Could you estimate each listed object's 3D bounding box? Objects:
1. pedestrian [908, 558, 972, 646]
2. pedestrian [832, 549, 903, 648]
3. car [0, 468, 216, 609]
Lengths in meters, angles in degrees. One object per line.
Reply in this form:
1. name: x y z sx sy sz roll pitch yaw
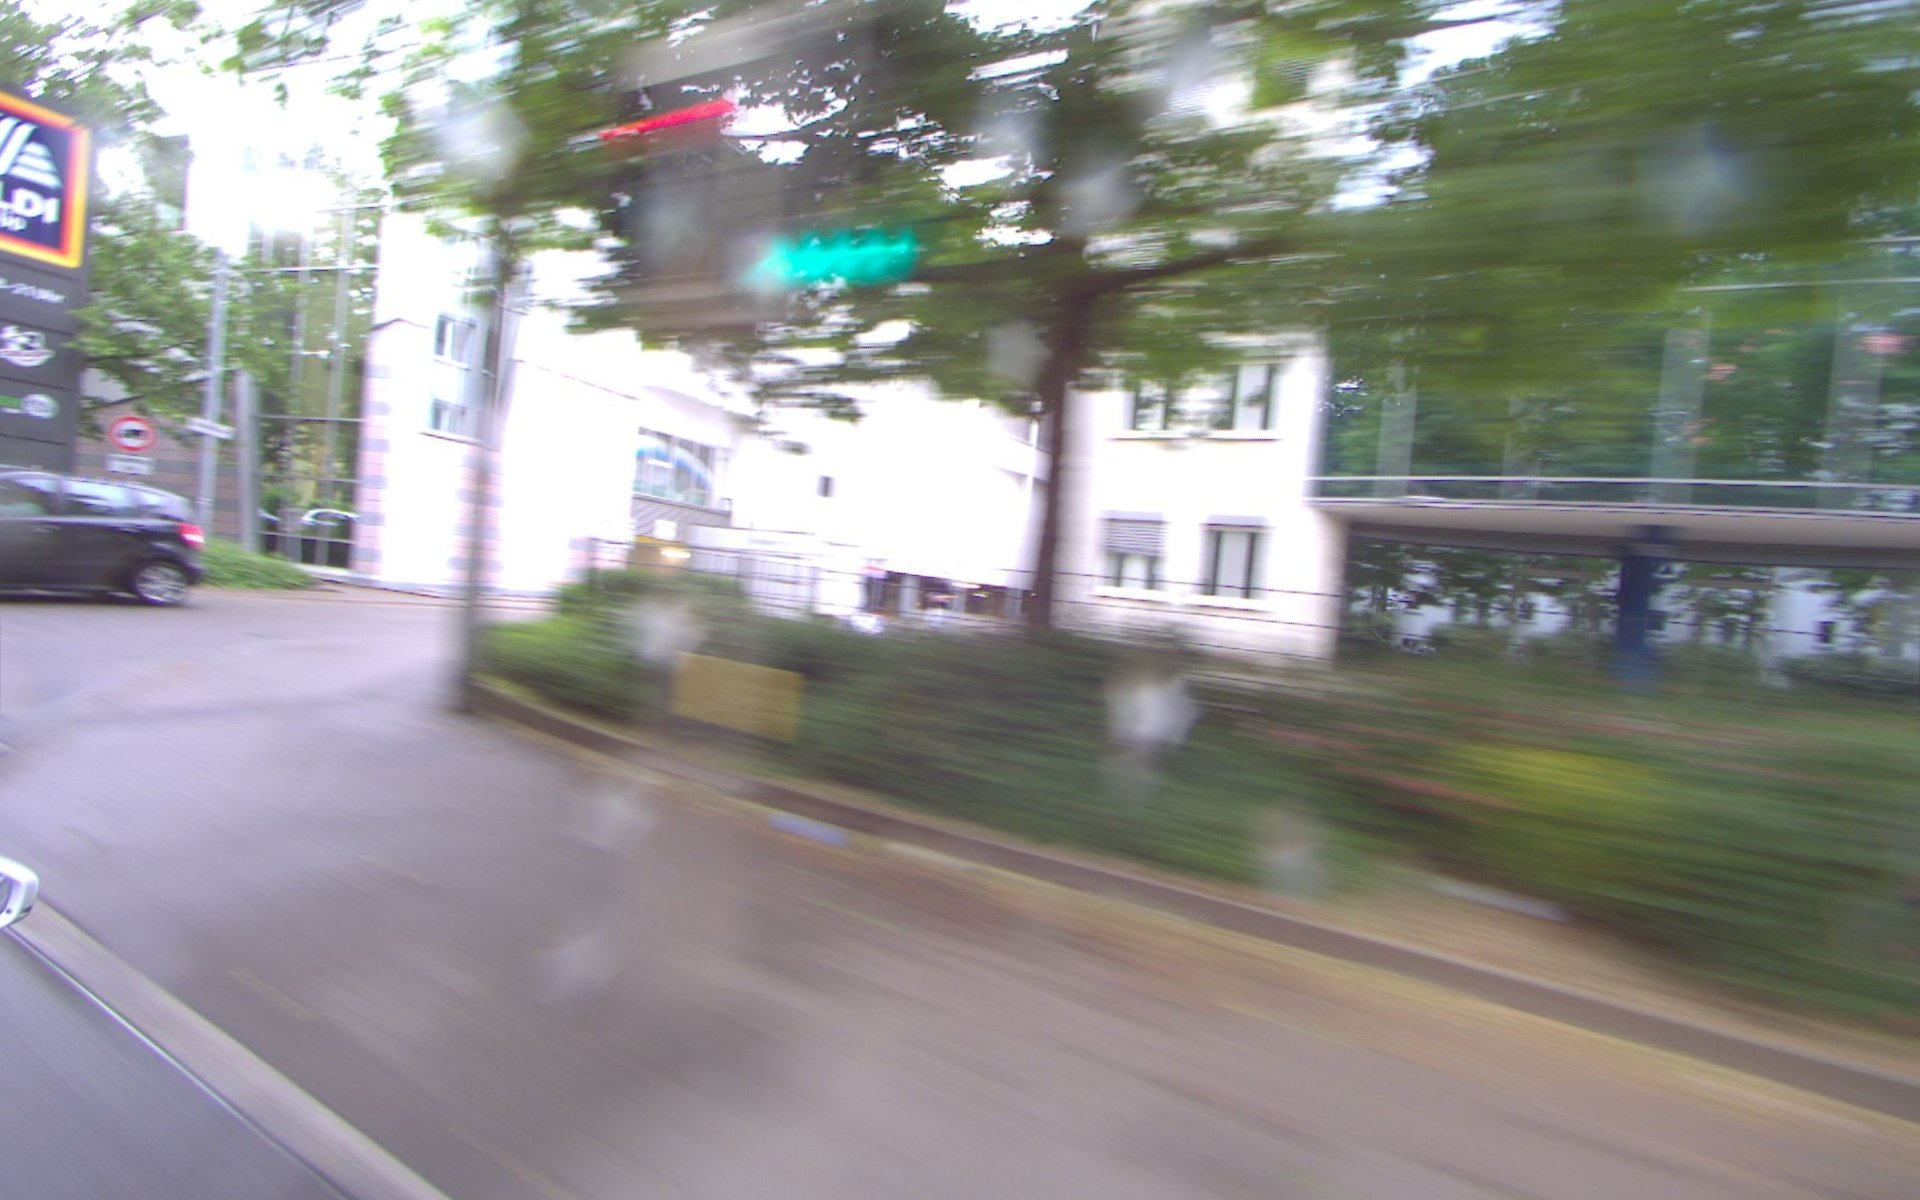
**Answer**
1. pedestrian: -0.390 0.052 19.997 0.691 1.638 0.917 7 2 35
2. pedestrian: -1.813 -0.028 19.813 0.945 1.851 0.829 5 1 35
3. car: -11.536 -0.786 11.922 1.990 1.568 3.853 7 3 25
